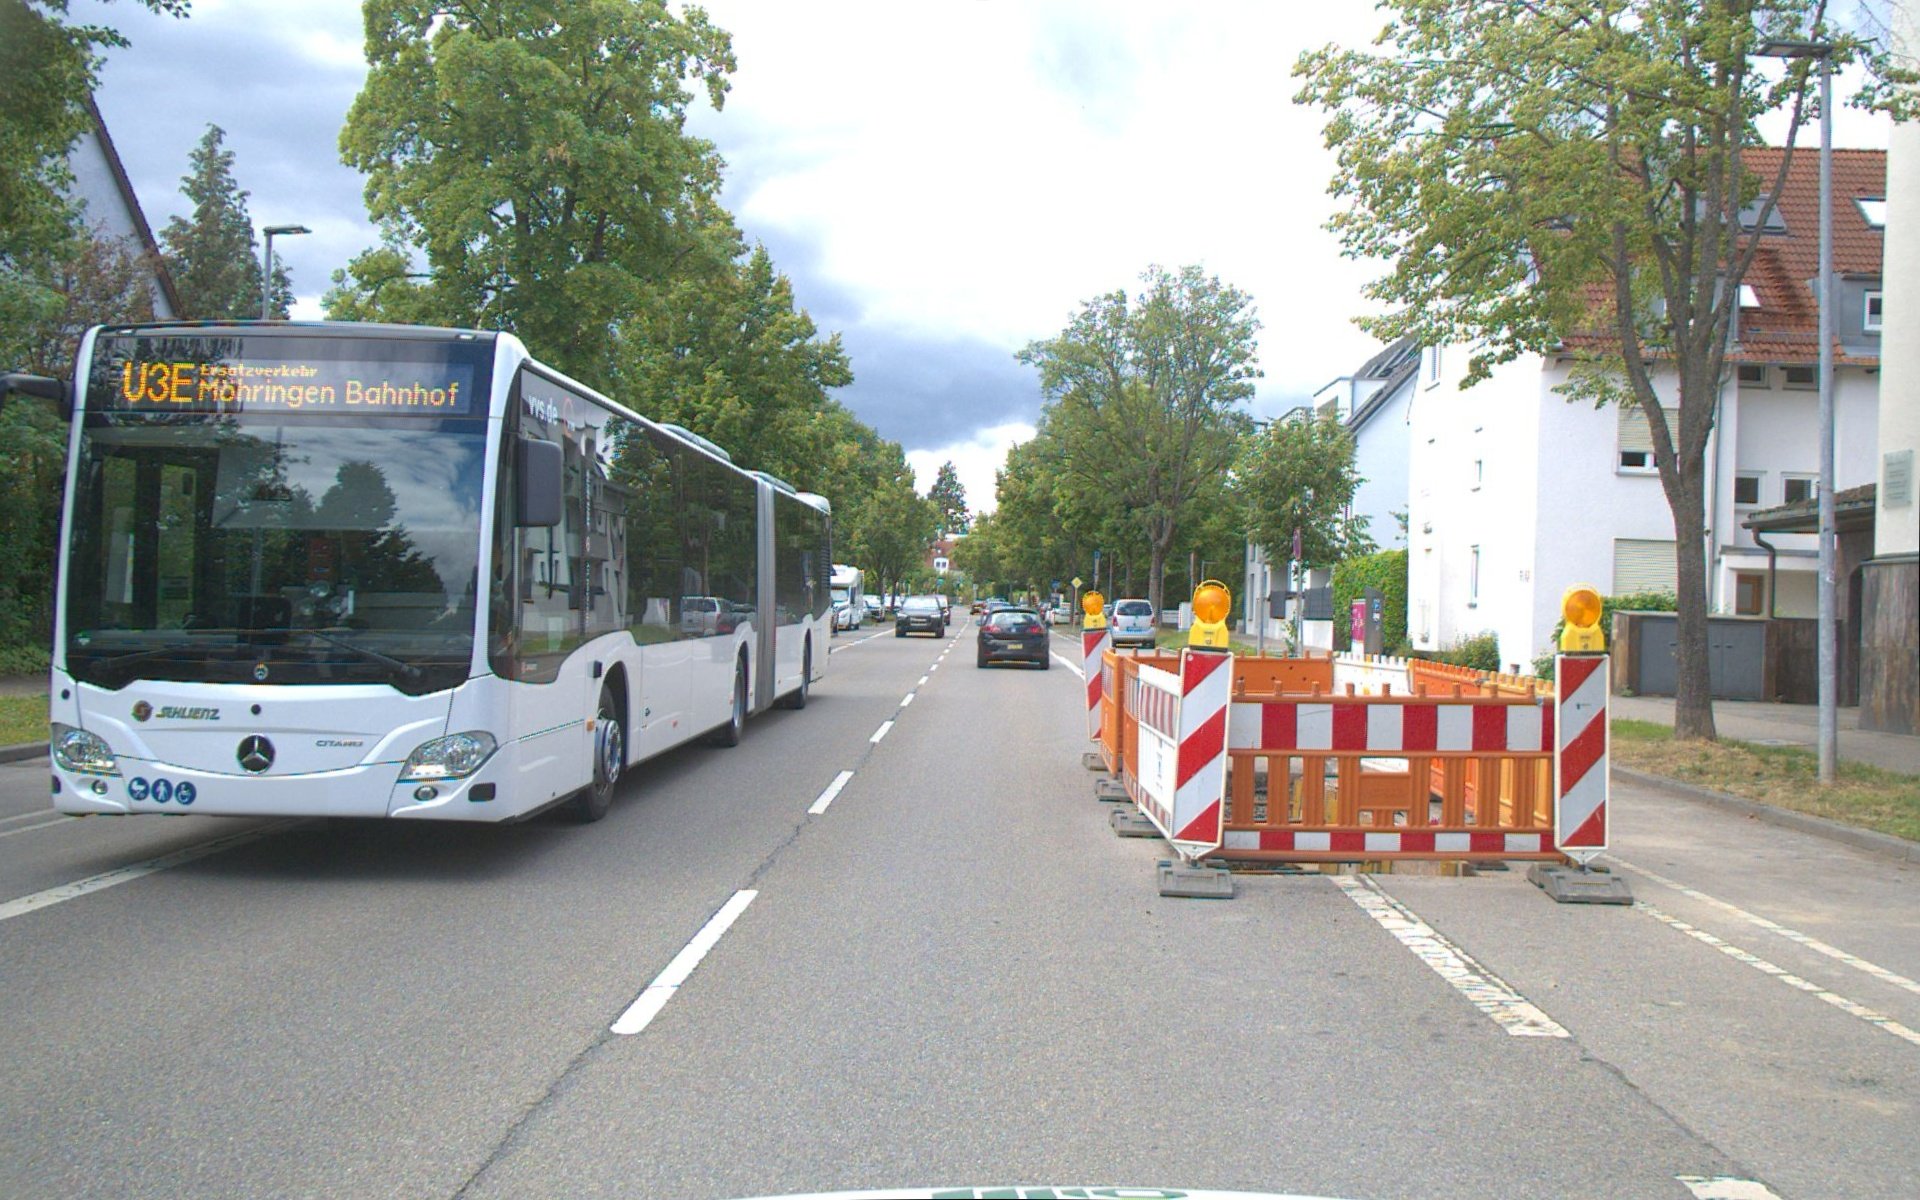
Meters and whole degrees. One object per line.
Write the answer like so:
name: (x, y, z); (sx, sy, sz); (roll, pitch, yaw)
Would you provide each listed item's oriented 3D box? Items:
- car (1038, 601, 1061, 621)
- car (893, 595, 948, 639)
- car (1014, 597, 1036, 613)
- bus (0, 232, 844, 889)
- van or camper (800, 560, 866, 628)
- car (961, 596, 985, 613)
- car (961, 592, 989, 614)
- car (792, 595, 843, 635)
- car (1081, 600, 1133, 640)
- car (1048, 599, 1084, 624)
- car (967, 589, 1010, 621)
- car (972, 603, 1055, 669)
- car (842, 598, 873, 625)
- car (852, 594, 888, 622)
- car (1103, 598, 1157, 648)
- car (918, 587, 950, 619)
car: (6.655, 0.782, 123.016); (1.604, 1.445, 4.001); (1, 0, 2)
car: (-1.592, 0.678, 67.933); (1.952, 1.697, 4.590); (0, 0, 2)
car: (6.177, 0.488, 158.035); (1.650, 1.457, 4.041); (1, 0, -4)
bus: (-3.495, -0.107, 17.607); (2.747, 3.346, 18.047); (1, -1, 1)
van or camper: (-5.966, -0.290, 78.963); (2.385, 3.062, 7.694); (1, 0, 1)
car: (1.211, 0.394, 157.193); (1.954, 1.534, 3.996); (2, -1, -4)
car: (1.114, 0.206, 123.914); (1.953, 1.557, 3.999); (1, 0, -1)
car: (-6.028, 0.609, 70.306); (1.687, 1.628, 4.273); (1, 0, 1)
car: (5.747, 0.760, 64.982); (1.652, 1.519, 4.227); (1, 0, 0)
car: (6.546, 0.683, 102.712); (1.979, 1.469, 5.026); (1, 0, 1)
car: (1.506, 0.301, 88.281); (1.954, 1.585, 3.997); (1, -1, -4)
car: (1.240, 0.819, 39.517); (1.747, 1.474, 3.557); (1, 0, -2)
car: (-5.849, 0.626, 94.974); (1.524, 1.496, 4.451); (1, 0, -1)
car: (-5.655, 0.514, 104.790); (1.779, 1.681, 4.700); (1, 0, 3)
car: (6.052, 0.795, 59.107); (1.599, 1.694, 3.648); (1, 0, 1)
car: (-1.532, 0.197, 99.148); (1.724, 1.834, 4.769); (1, 0, 1)
